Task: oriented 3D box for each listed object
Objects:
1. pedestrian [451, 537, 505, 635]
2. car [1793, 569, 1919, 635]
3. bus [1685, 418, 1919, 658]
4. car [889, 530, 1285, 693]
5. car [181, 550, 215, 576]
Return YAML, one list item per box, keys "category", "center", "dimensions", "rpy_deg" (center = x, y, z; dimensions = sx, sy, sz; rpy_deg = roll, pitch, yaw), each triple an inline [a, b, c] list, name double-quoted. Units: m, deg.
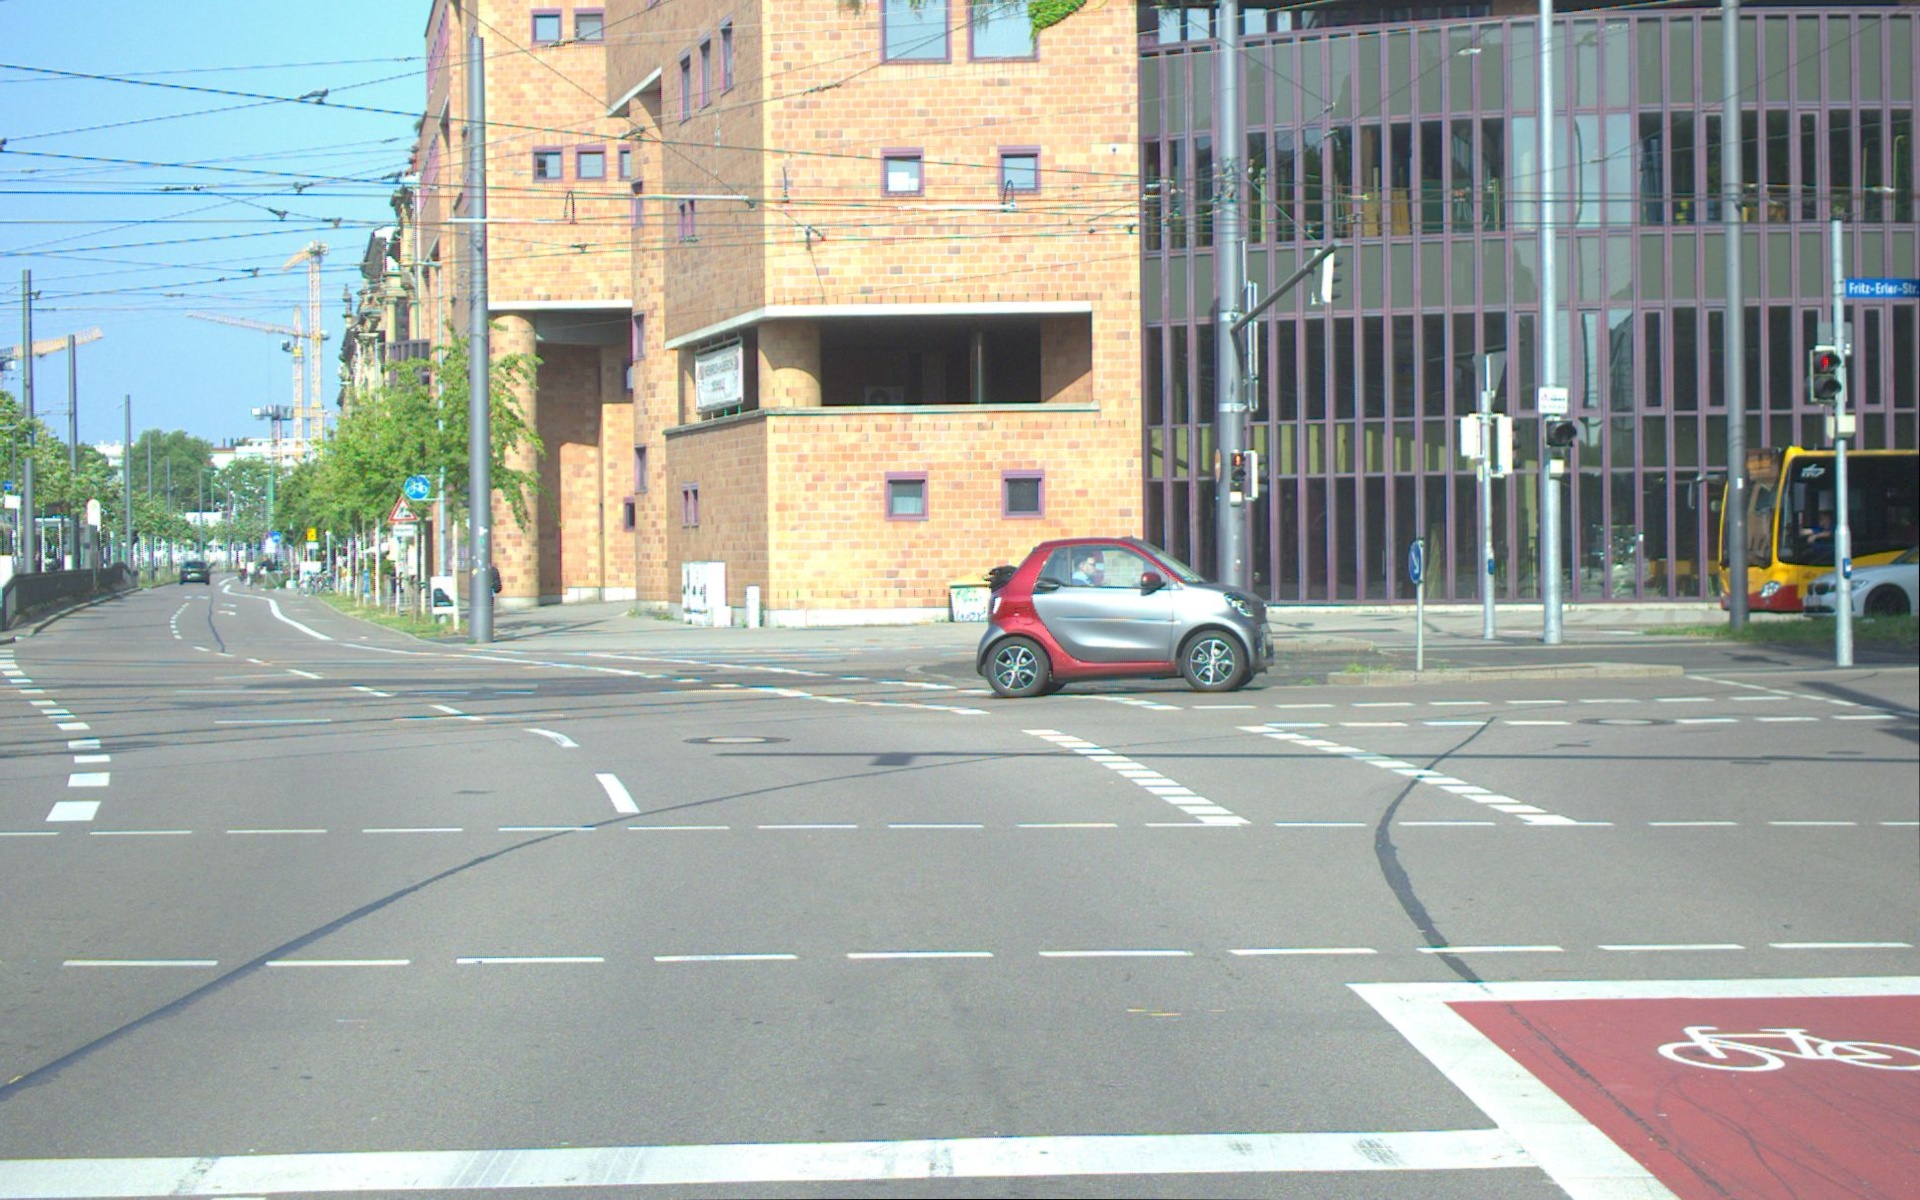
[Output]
- category: "pedestrian"
  center: [-9.902, -0.297, 70.671]
  dimensions: [0.841, 2.007, 0.810]
  rpy_deg: [0, 1, 15]
- category: "car"
  center: [13.732, 0.024, 52.074]
  dimensions: [1.951, 0.955, 1.094]
  rpy_deg: [-1, 1, -2]
- category: "bus"
  center: [21.016, -1.050, 57.313]
  dimensions: [17.605, 3.797, 2.866]
  rpy_deg: [-1, -1, -10]
- category: "car"
  center: [1.257, 0.102, 33.200]
  dimensions: [3.593, 1.487, 1.702]
  rpy_deg: [-1, 0, 10]
- category: "car"
  center: [-48.750, -2.351, 219.855]
  dimensions: [2.073, 1.537, 4.415]
  rpy_deg: [-1, -1, -12]
